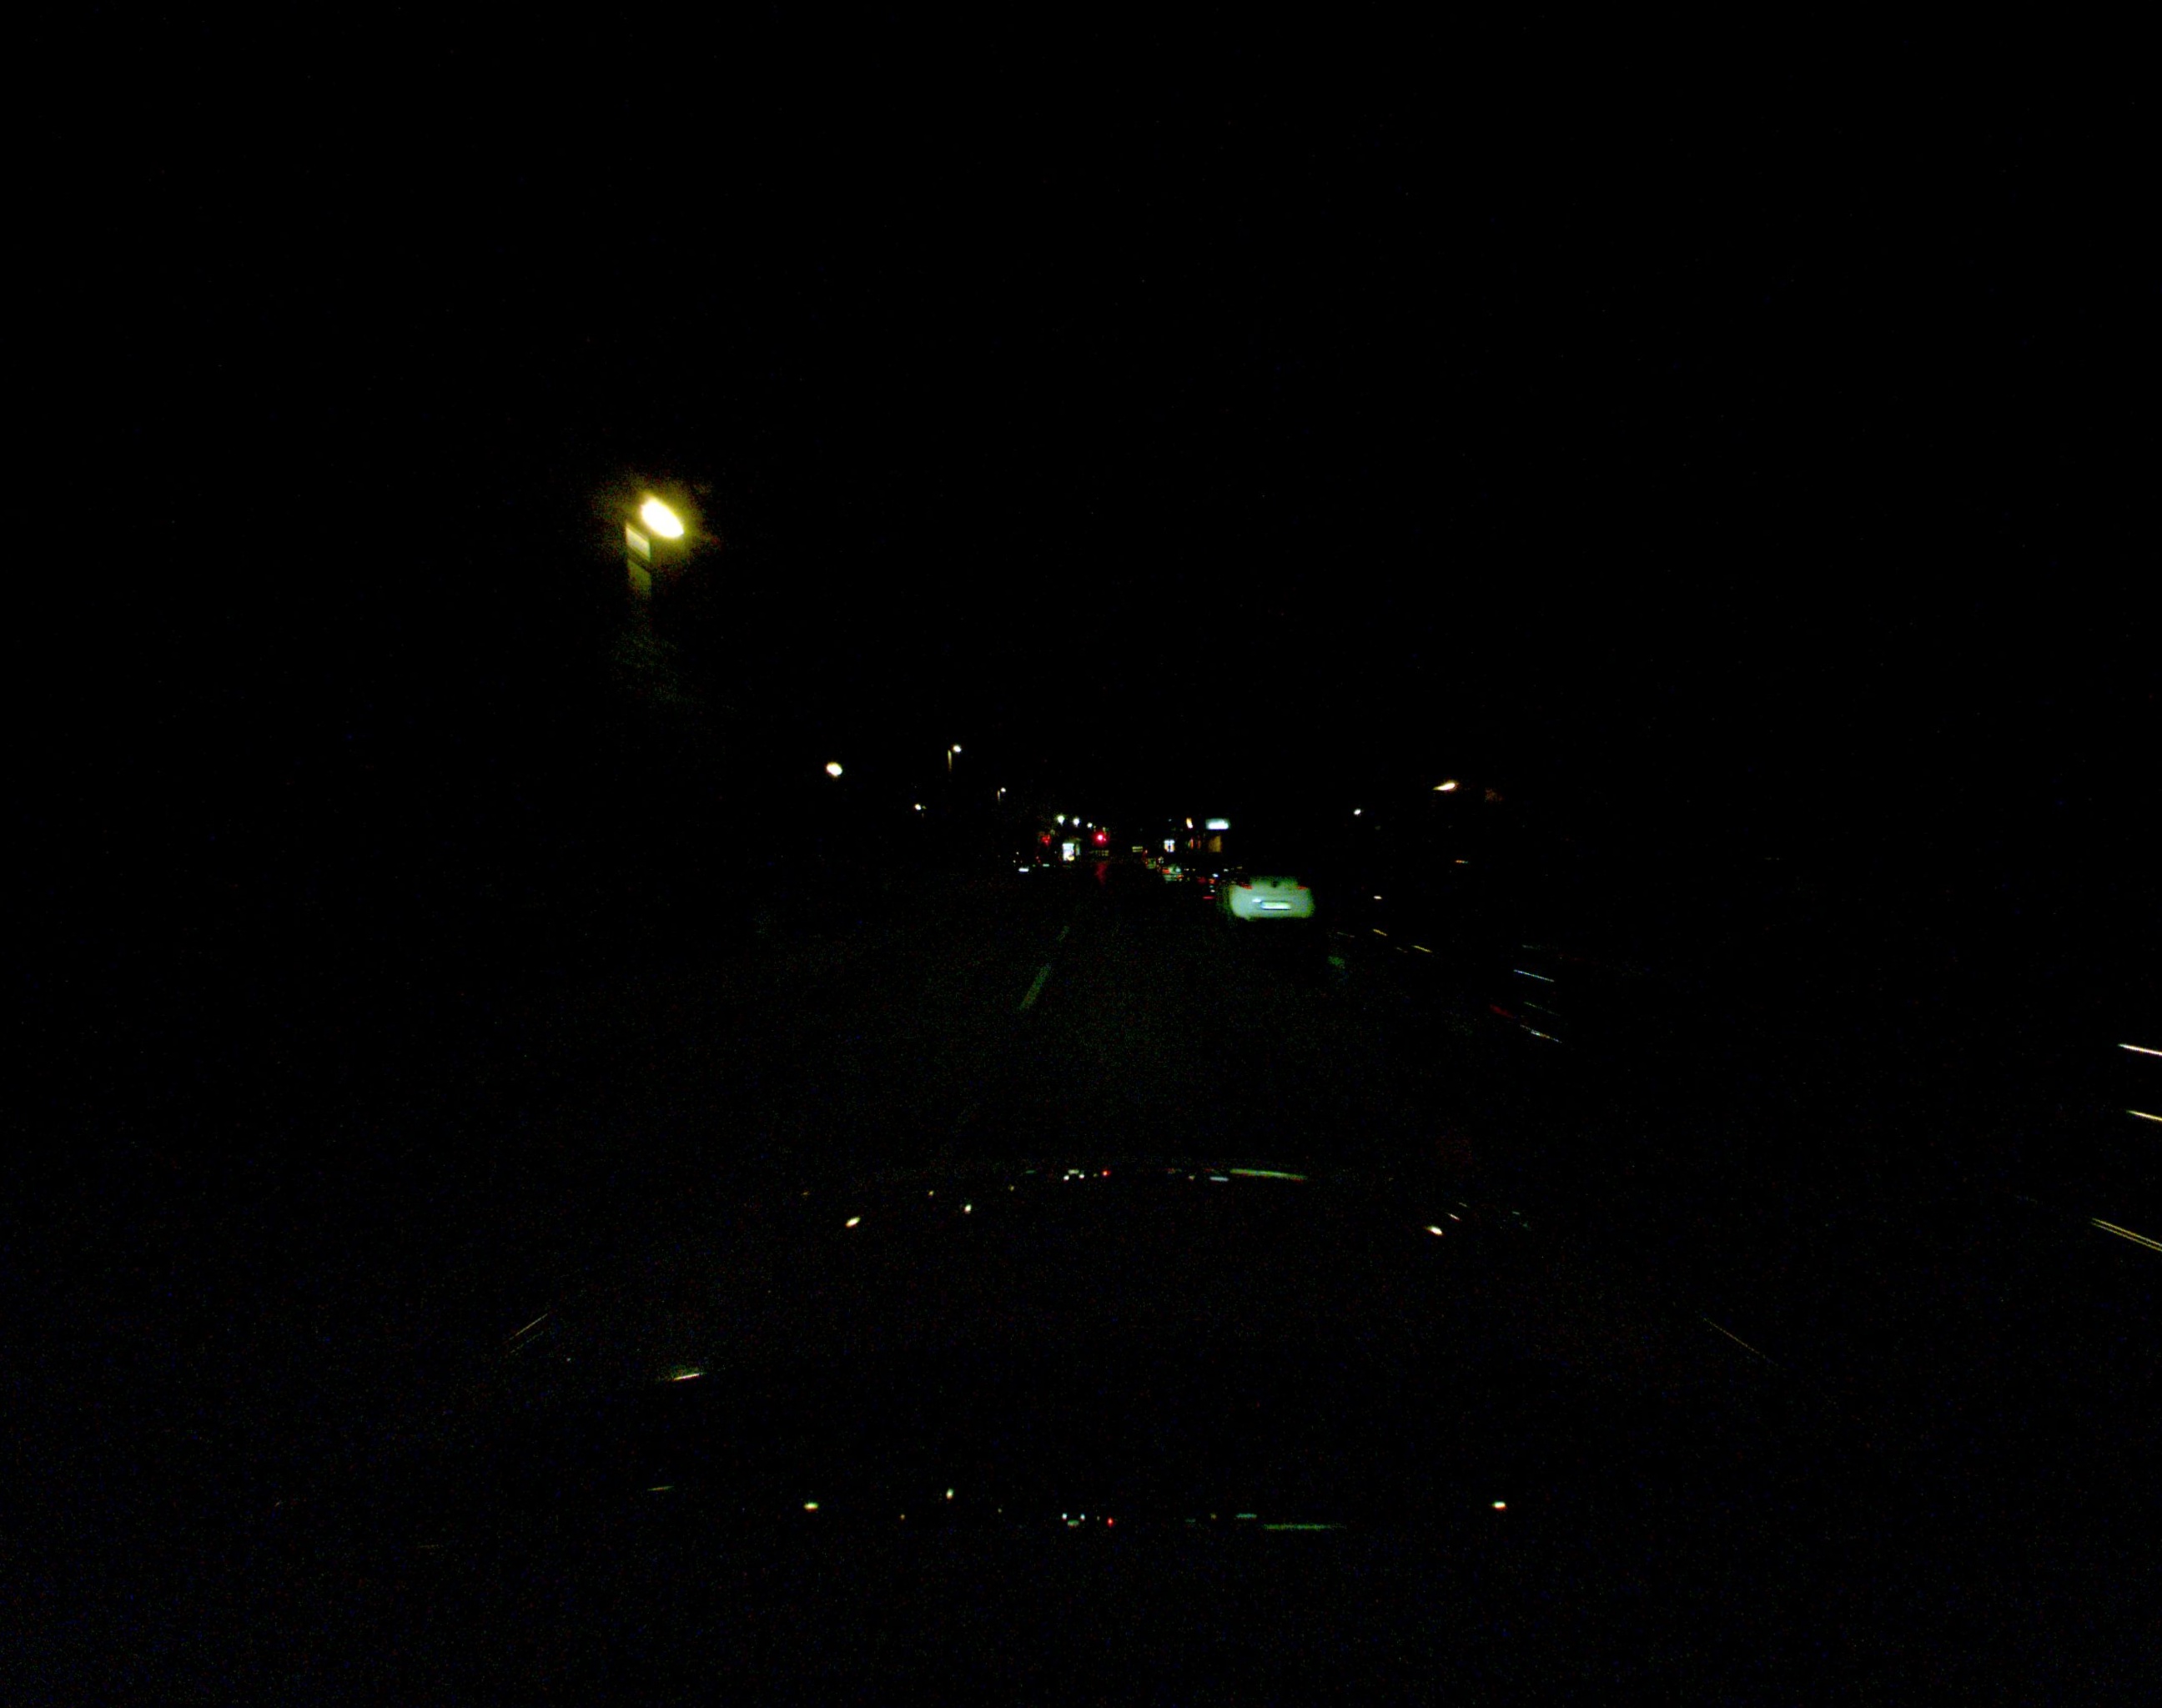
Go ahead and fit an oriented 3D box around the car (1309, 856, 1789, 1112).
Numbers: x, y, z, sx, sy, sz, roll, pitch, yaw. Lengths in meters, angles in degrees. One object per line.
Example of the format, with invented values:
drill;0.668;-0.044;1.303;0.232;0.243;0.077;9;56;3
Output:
car;3.265;0.750;6.705;1.671;1.447;3.999;0;0;0

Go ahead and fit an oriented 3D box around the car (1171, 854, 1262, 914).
car;3.532;0.731;21.971;1.756;1.416;4.440;0;0;1

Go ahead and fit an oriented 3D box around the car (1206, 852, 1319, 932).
car;3.668;0.702;17.050;1.632;1.466;3.778;0;0;2

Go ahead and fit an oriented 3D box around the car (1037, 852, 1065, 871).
car;-2.408;0.560;66.212;1.683;1.436;4.134;1;0;5

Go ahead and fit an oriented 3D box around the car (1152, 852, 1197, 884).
car;4.451;0.613;39.228;1.773;1.437;4.290;0;0;1

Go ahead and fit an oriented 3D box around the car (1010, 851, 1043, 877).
car;-3.237;0.597;48.919;1.685;1.524;3.692;0;-1;1

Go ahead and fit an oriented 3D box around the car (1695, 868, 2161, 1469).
car;3.372;0.769;1.717;1.594;1.398;3.519;0;0;2

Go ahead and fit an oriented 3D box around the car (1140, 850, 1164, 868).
car;6.090;0.414;70.259;1.849;1.442;4.599;-3;0;4

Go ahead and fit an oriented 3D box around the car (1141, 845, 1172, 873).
car;4.946;0.314;53.765;1.779;1.641;4.384;-3;0;3

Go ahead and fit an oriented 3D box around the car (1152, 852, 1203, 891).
car;3.893;0.658;33.437;1.670;1.447;4.613;-2;0;2
